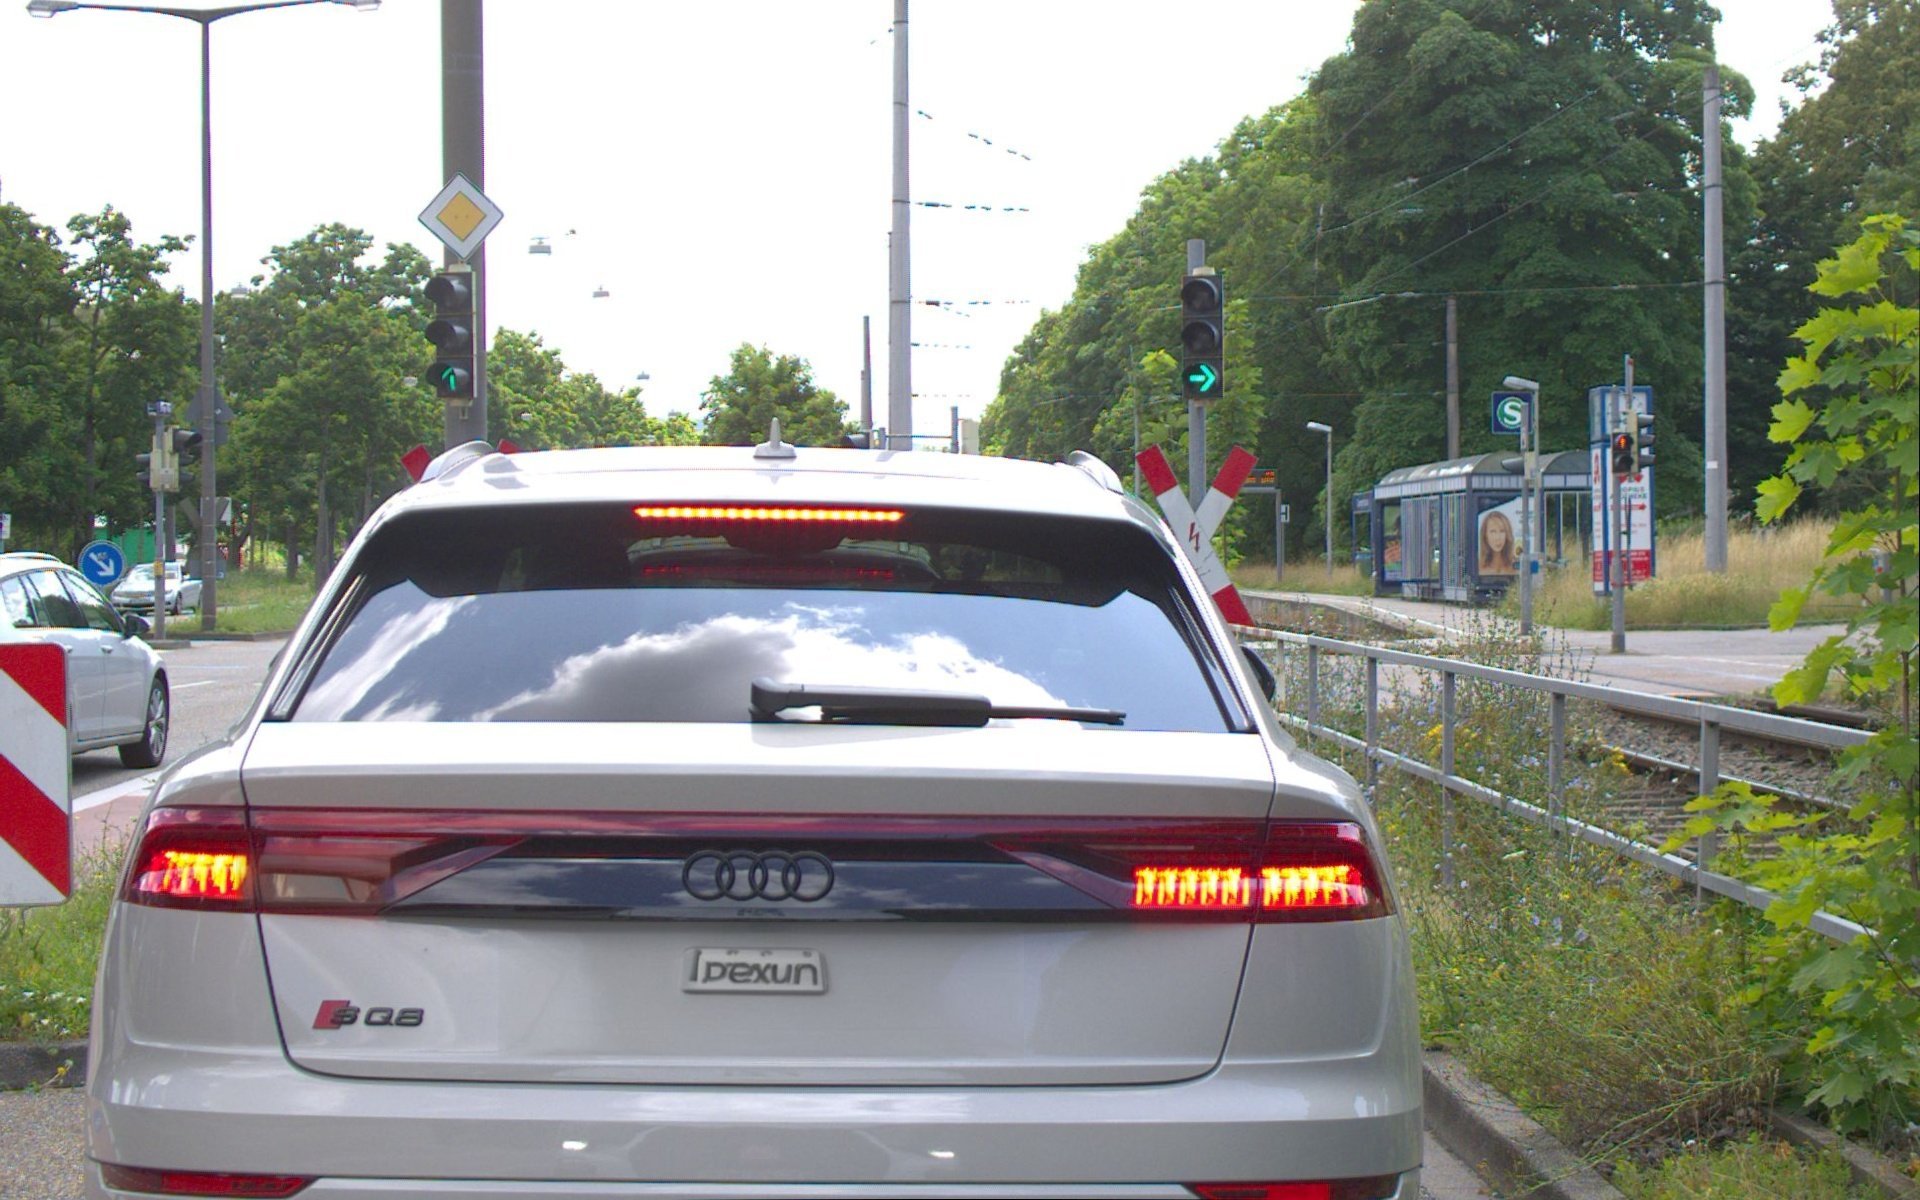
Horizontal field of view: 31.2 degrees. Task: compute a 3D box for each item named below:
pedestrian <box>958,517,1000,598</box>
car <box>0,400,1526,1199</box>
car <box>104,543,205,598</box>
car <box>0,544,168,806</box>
[{"bbox_3d":[0.358,-0.807,65.122,0.653,1.508,0.718,-1,1,-10],"label":"pedestrian"},{"bbox_3d":[-0.312,0.577,6.631,1.981,1.678,4.574,1,1,-1],"label":"car"},{"bbox_3d":[-21.547,-0.803,92.081,1.799,1.427,4.497,-1,1,-2],"label":"car"},{"bbox_3d":[-6.415,0.402,22.057,1.785,1.520,4.301,1,1,-2],"label":"car"}]
